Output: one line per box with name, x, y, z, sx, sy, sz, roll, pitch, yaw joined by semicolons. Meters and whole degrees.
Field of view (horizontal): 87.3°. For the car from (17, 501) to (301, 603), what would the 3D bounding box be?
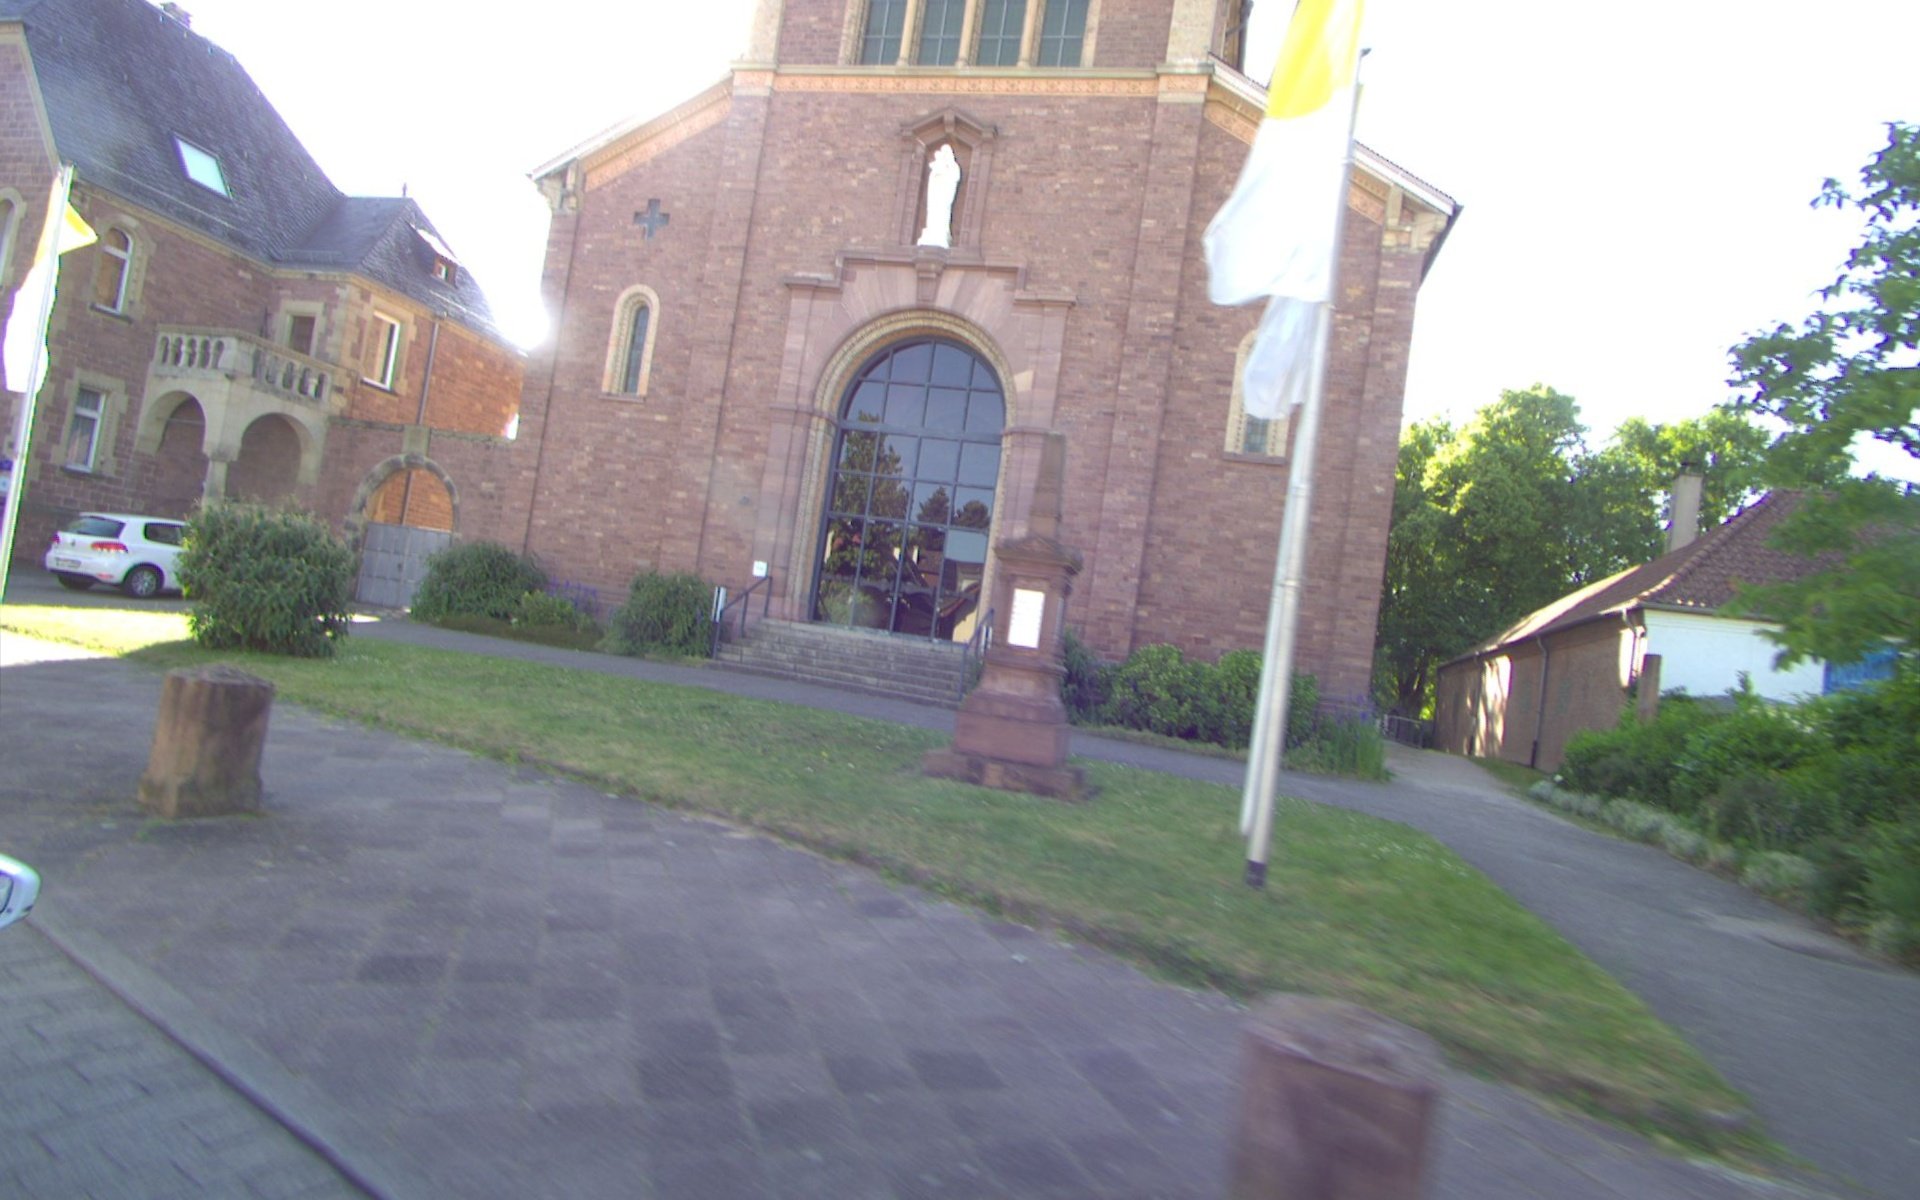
car;-15.379;-0.853;19.609;1.868;1.514;3.912;6;0;14
